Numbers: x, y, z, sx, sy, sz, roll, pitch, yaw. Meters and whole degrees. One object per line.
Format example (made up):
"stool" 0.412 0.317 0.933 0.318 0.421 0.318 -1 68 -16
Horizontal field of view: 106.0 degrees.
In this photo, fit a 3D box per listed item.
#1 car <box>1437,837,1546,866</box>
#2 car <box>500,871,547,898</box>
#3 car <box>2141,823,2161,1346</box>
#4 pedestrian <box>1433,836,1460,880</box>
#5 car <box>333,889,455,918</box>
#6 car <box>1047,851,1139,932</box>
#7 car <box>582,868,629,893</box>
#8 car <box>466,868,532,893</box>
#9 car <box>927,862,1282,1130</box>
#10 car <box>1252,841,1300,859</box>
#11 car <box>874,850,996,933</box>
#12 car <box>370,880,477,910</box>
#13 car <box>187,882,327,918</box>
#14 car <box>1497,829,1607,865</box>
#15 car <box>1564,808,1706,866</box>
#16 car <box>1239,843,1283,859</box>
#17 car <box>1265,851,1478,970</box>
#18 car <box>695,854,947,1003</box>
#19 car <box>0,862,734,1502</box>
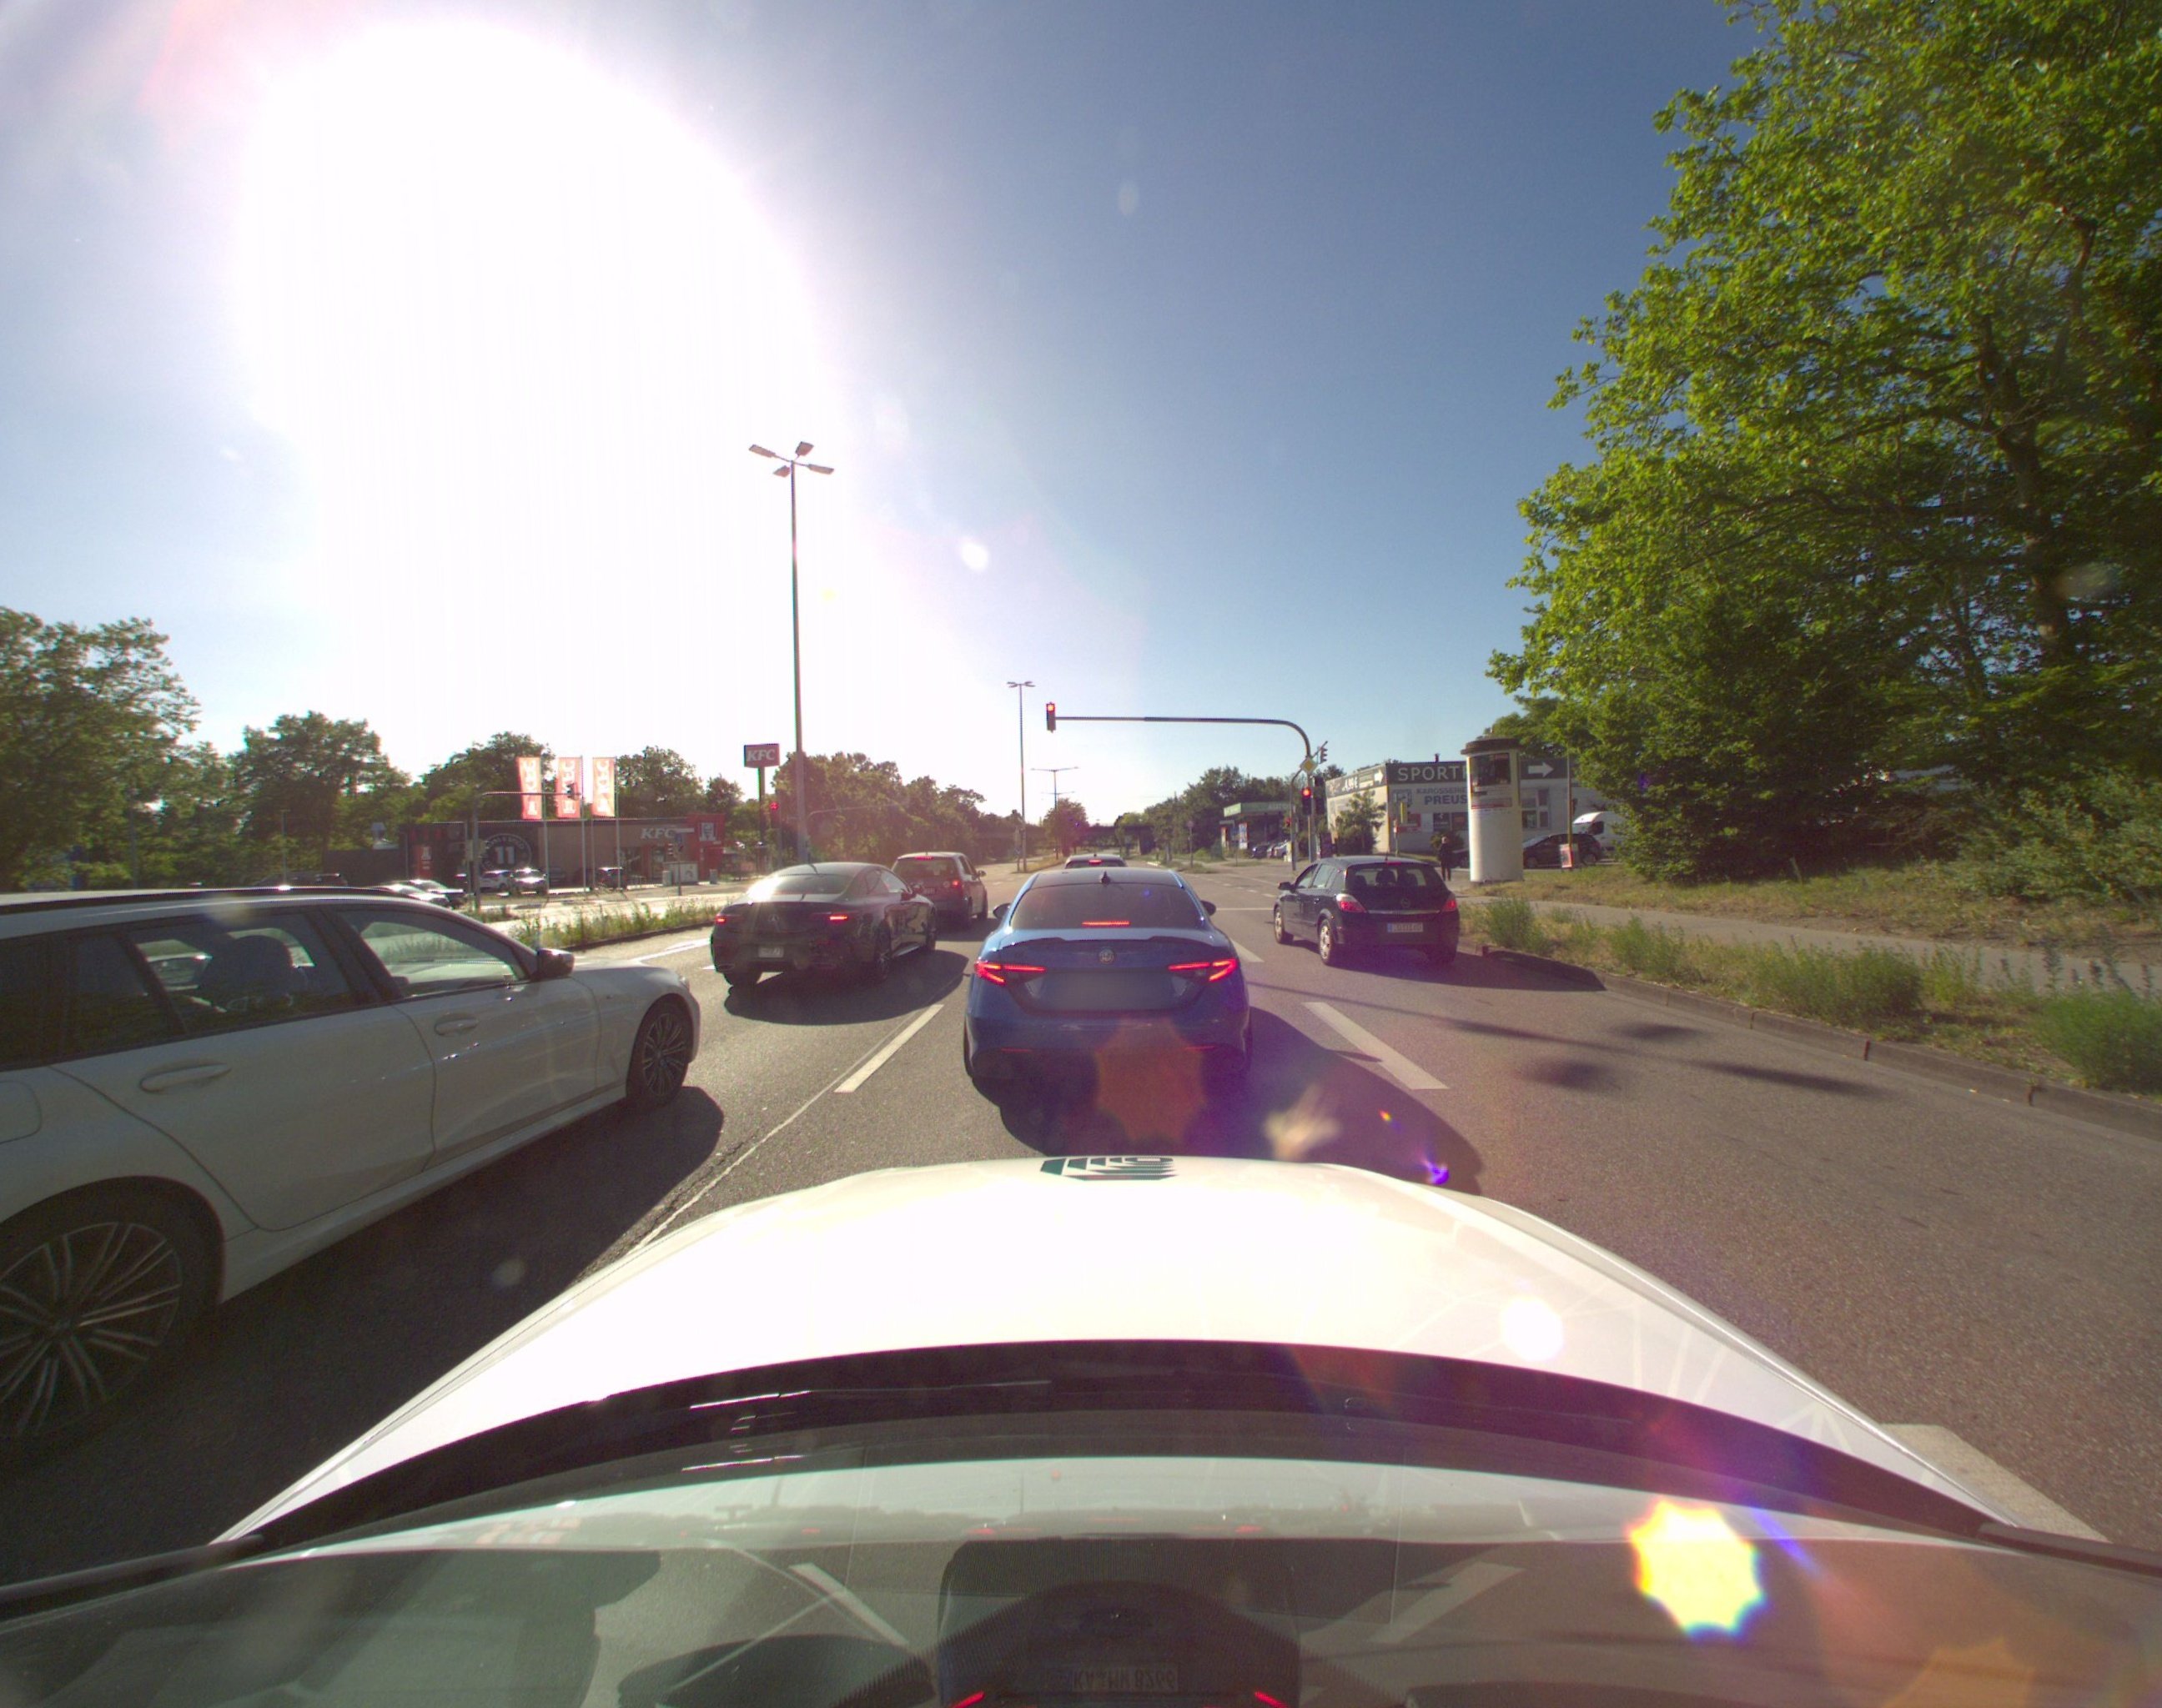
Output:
"car" 21.304 -0.109 42.399 4.803 1.468 1.758 0 -1 0
"car" -37.373 2.003 54.563 1.946 1.740 4.046 0 -1 -45
"car" 4.004 0.682 0.371 1.777 1.537 4.109 0 0 2
"pedestrian" 14.199 0.163 31.670 0.814 1.669 0.514 0 -1 1
"car" -32.175 2.303 38.216 4.070 1.252 1.871 0 -1 0
"car" 0.345 0.707 16.979 1.696 1.497 3.722 0 -1 3
"car" -33.906 1.845 58.033 1.946 1.740 4.046 0 -1 -45
"car" -42.979 1.931 60.215 1.984 1.813 3.778 0 -1 5
"car" 0.232 0.779 6.240 1.901 1.423 3.722 0 -1 3
"car" 17.824 -0.356 74.462 3.971 1.552 2.001 0 -1 2
"car" -3.001 0.727 17.629 1.806 1.551 4.353 0 -1 0
"car" -33.691 2.093 41.796 3.938 1.453 1.937 0 -1 2
"car" -39.088 2.179 38.699 4.608 1.579 1.936 0 -1 0
"car" 22.353 -0.297 38.785 4.291 1.650 1.638 0 -1 1
"car" 28.596 -0.828 42.175 5.812 2.672 2.001 -3 -1 2
"car" 18.359 -0.292 83.141 3.995 1.552 1.989 0 -1 -16
"car" 4.034 0.696 12.128 1.727 1.442 4.373 0 0 2
"car" -3.122 0.786 10.881 1.806 1.551 4.544 -1 0 1
"car" -3.443 0.823 3.426 1.805 1.486 4.599 -1 0 2
